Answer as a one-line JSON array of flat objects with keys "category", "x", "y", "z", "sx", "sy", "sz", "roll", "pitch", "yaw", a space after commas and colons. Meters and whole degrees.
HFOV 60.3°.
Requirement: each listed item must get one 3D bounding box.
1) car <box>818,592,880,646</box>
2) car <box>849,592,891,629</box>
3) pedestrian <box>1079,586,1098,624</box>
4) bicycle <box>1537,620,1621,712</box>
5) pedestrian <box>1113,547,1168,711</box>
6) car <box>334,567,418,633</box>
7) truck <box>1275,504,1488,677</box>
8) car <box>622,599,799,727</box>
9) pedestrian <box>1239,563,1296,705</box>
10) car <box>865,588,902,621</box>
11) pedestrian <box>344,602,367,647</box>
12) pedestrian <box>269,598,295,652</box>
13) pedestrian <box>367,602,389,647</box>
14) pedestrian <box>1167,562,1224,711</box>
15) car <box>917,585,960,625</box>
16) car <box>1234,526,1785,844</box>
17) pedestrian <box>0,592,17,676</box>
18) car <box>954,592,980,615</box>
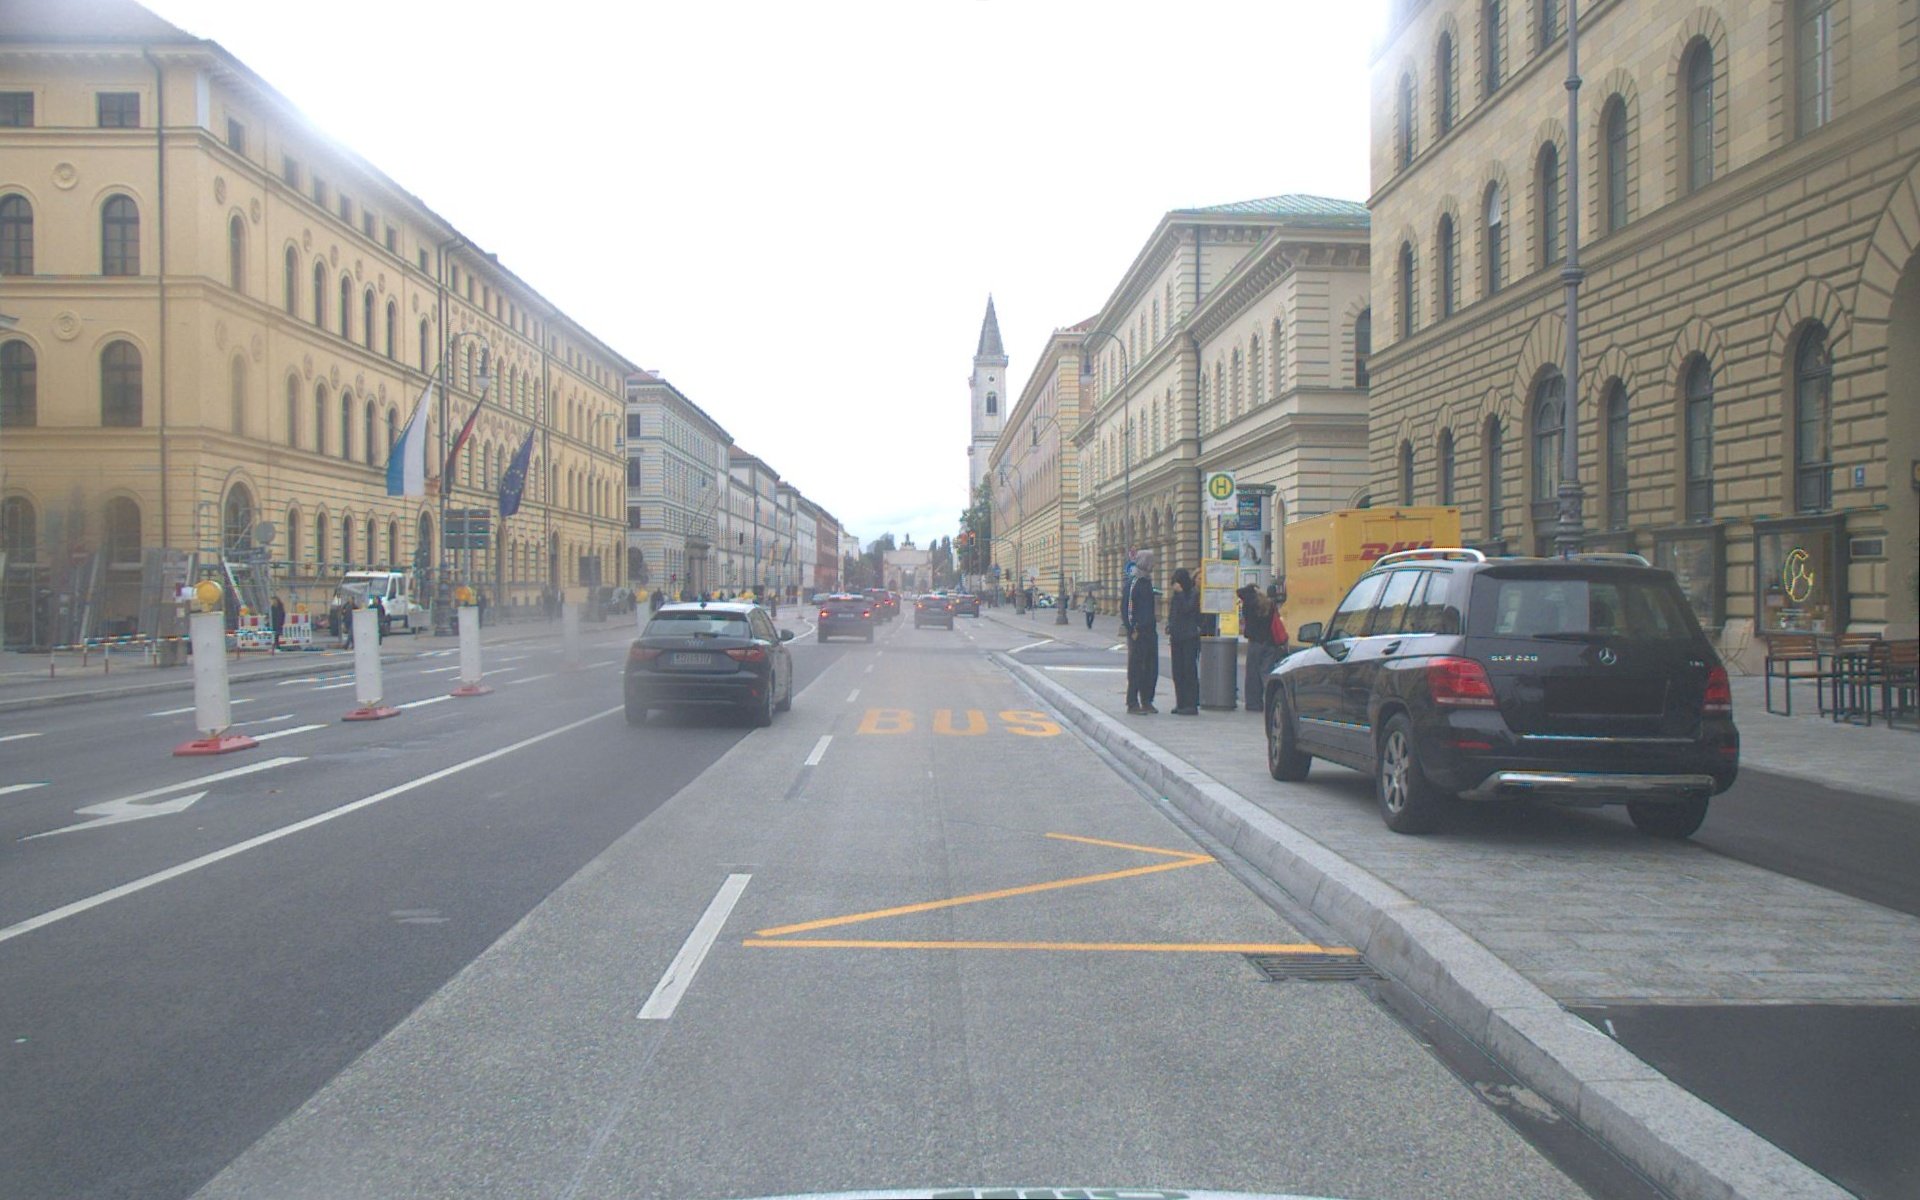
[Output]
[{"category": "car", "x": -3.446, "y": 0.611, "z": 52.031, "sx": 1.733, "sy": 1.645, "sz": 3.999, "roll": 0, "pitch": -1, "yaw": -1}, {"category": "car", "x": -4.521, "y": 0.504, "z": 83.321, "sx": 1.953, "sy": 1.803, "sz": 3.999, "roll": -1, "pitch": 0, "yaw": -1}, {"category": "pedestrian", "x": 5.875, "y": 0.218, "z": 75.775, "sx": 0.781, "sy": 1.720, "sz": 0.800, "roll": 0, "pitch": -1, "yaw": -1}, {"category": "bicycle", "x": 7.313, "y": 0.767, "z": 19.595, "sx": 0.507, "sy": 1.040, "sz": 1.651, "roll": 0, "pitch": -1, "yaw": 5}, {"category": "pedestrian", "x": 2.129, "y": 0.342, "z": 19.522, "sx": 0.602, "sy": 1.908, "sz": 0.541, "roll": 0, "pitch": -1, "yaw": 3}, {"category": "car", "x": -21.323, "y": 0.020, "z": 60.513, "sx": 1.703, "sy": 2.329, "sz": 3.999, "roll": 0, "pitch": -1, "yaw": -1}, {"category": "truck", "x": 7.428, "y": -0.101, "z": 29.905, "sx": 2.567, "sy": 2.813, "sz": 5.808, "roll": 0, "pitch": -1, "yaw": 2}, {"category": "car", "x": -2.979, "y": 0.703, "z": 20.485, "sx": 1.826, "sy": 1.412, "sz": 3.997, "roll": 1, "pitch": 0, "yaw": -4}, {"category": "pedestrian", "x": 3.793, "y": 0.416, "z": 20.451, "sx": 0.603, "sy": 1.732, "sz": 0.541, "roll": 0, "pitch": -1, "yaw": 1}, {"category": "car", "x": -4.318, "y": 0.247, "z": 93.737, "sx": 1.953, "sy": 1.803, "sz": 3.999, "roll": -1, "pitch": 0, "yaw": -1}, {"category": "pedestrian", "x": -19.223, "y": 0.771, "z": 52.634, "sx": 0.529, "sy": 1.431, "sz": 0.617, "roll": 0, "pitch": -1, "yaw": -5}, {"category": "pedestrian", "x": -19.775, "y": 0.721, "z": 48.230, "sx": 0.541, "sy": 1.557, "sz": 0.617, "roll": 0, "pitch": -1, "yaw": -5}, {"category": "pedestrian", "x": -18.534, "y": 0.789, "z": 52.686, "sx": 0.529, "sy": 1.435, "sz": 0.617, "roll": 0, "pitch": -1, "yaw": -5}, {"category": "pedestrian", "x": 2.778, "y": 0.428, "z": 19.519, "sx": 0.603, "sy": 1.732, "sz": 0.541, "roll": 0, "pitch": -1, "yaw": 1}, {"category": "car", "x": -1.018, "y": 0.235, "z": 77.344, "sx": 1.953, "sy": 1.803, "sz": 3.999, "roll": -1, "pitch": 0, "yaw": -1}, {"category": "car", "x": 3.321, "y": 0.464, "z": 11.008, "sx": 2.028, "sy": 1.691, "sz": 4.219, "roll": 1, "pitch": 0, "yaw": -4}, {"category": "pedestrian", "x": -19.554, "y": 0.687, "z": 33.472, "sx": 0.600, "sy": 1.681, "sz": 0.617, "roll": 0, "pitch": -1, "yaw": -5}, {"category": "car", "x": 0.520, "y": 0.286, "z": 121.378, "sx": 1.822, "sy": 1.606, "sz": 3.999, "roll": 0, "pitch": -1, "yaw": -1}]
